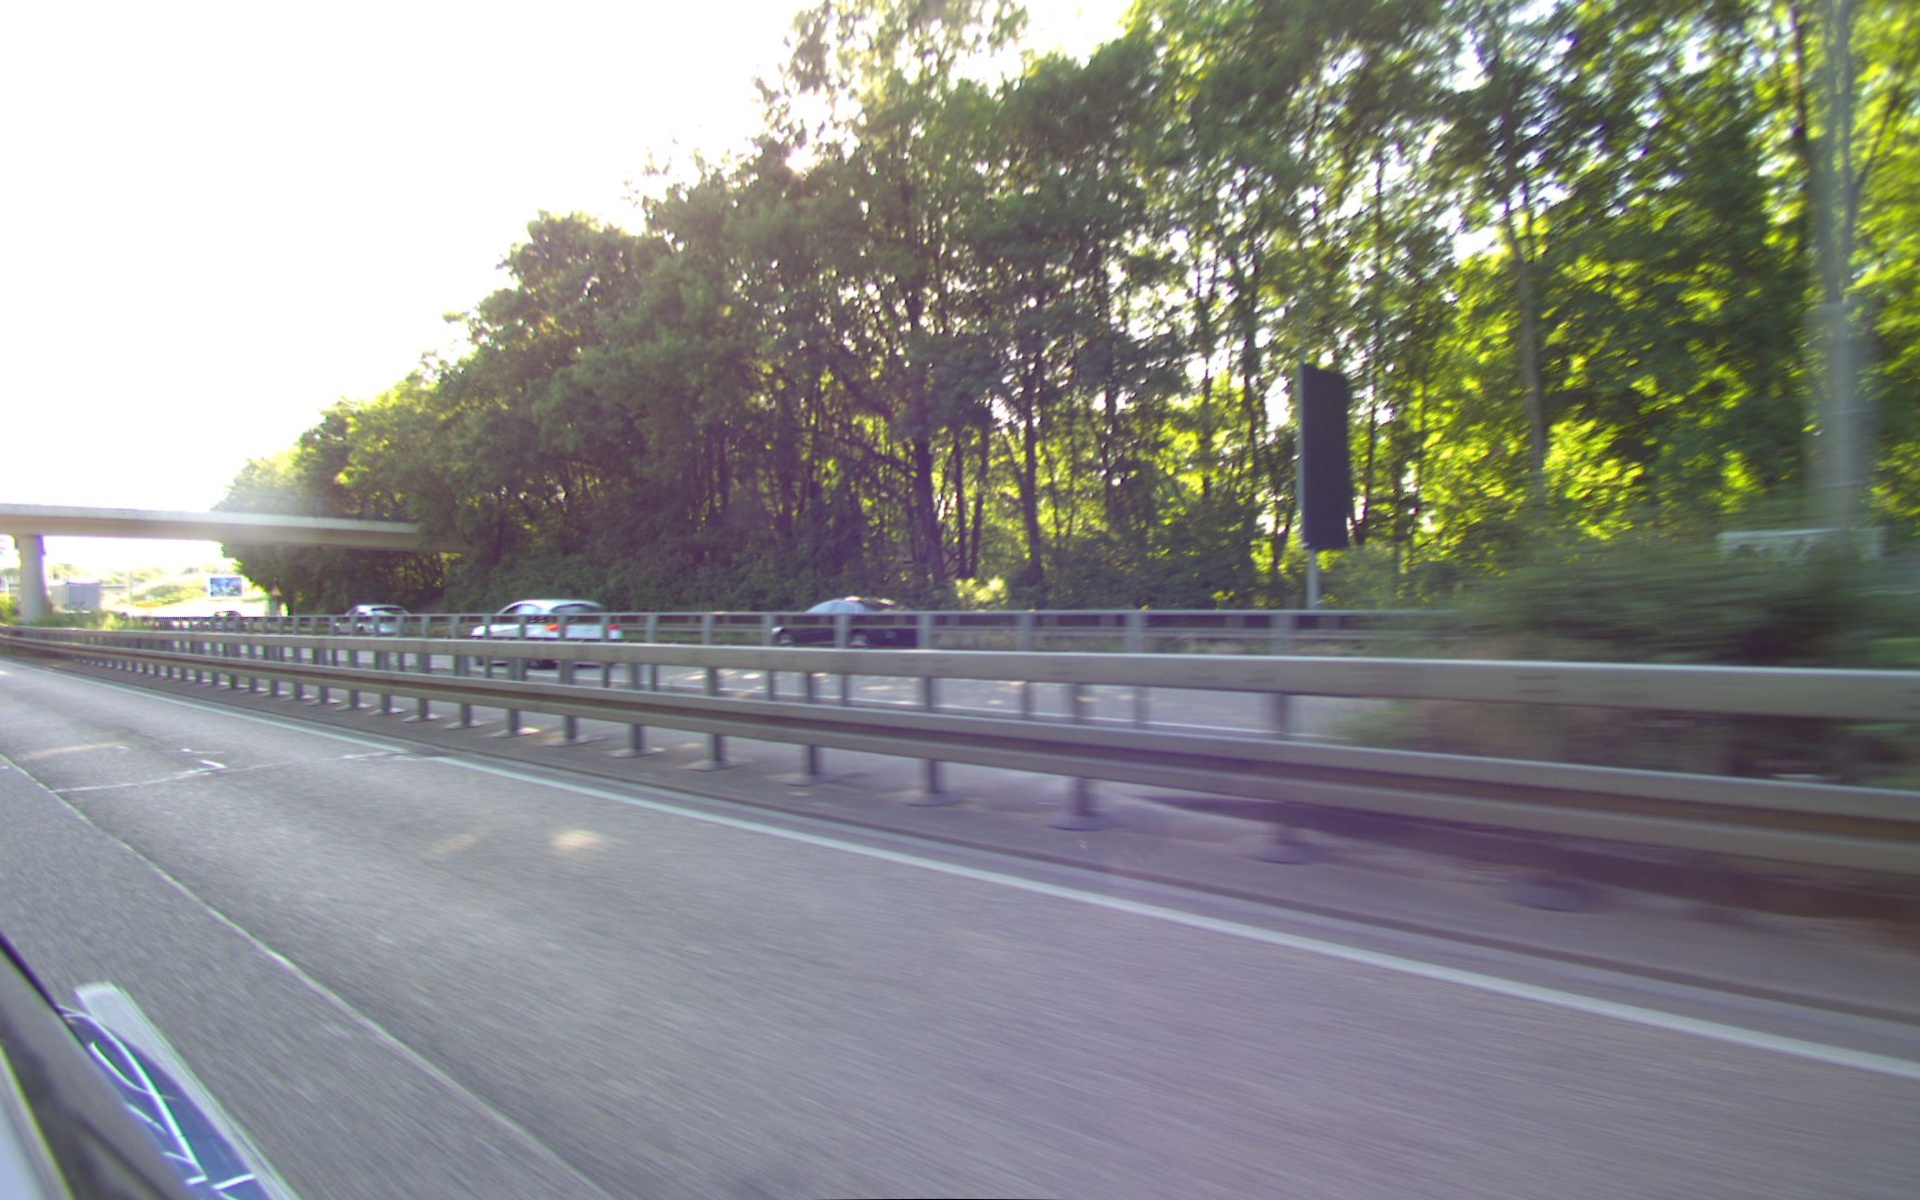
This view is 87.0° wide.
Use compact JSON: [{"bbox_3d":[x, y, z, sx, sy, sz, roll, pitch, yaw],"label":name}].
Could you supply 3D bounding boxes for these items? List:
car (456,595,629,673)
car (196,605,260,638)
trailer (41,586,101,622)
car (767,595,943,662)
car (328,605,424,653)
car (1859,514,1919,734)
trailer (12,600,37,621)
[{"bbox_3d":[-9.174,0.701,22.054,4.395,1.500,1.712,-1,0,41],"label":"car"},{"bbox_3d":[-40.331,1.158,55.756,4.341,1.763,1.973,-1,0,41],"label":"car"},{"bbox_3d":[-82.815,0.423,94.192,11.914,3.192,2.898,-1,0,42],"label":"trailer"},{"bbox_3d":[-2.644,0.673,24.833,4.451,1.500,1.712,-1,0,41],"label":"car"},{"bbox_3d":[-22.815,1.089,39.446,4.371,1.763,1.973,-1,0,41],"label":"car"},{"bbox_3d":[8.431,0.149,6.485,3.941,1.508,1.732,-1,0,41],"label":"car"},{"bbox_3d":[-181.212,2.033,196.002,14.033,4.018,2.988,-1,0,45],"label":"trailer"}]
